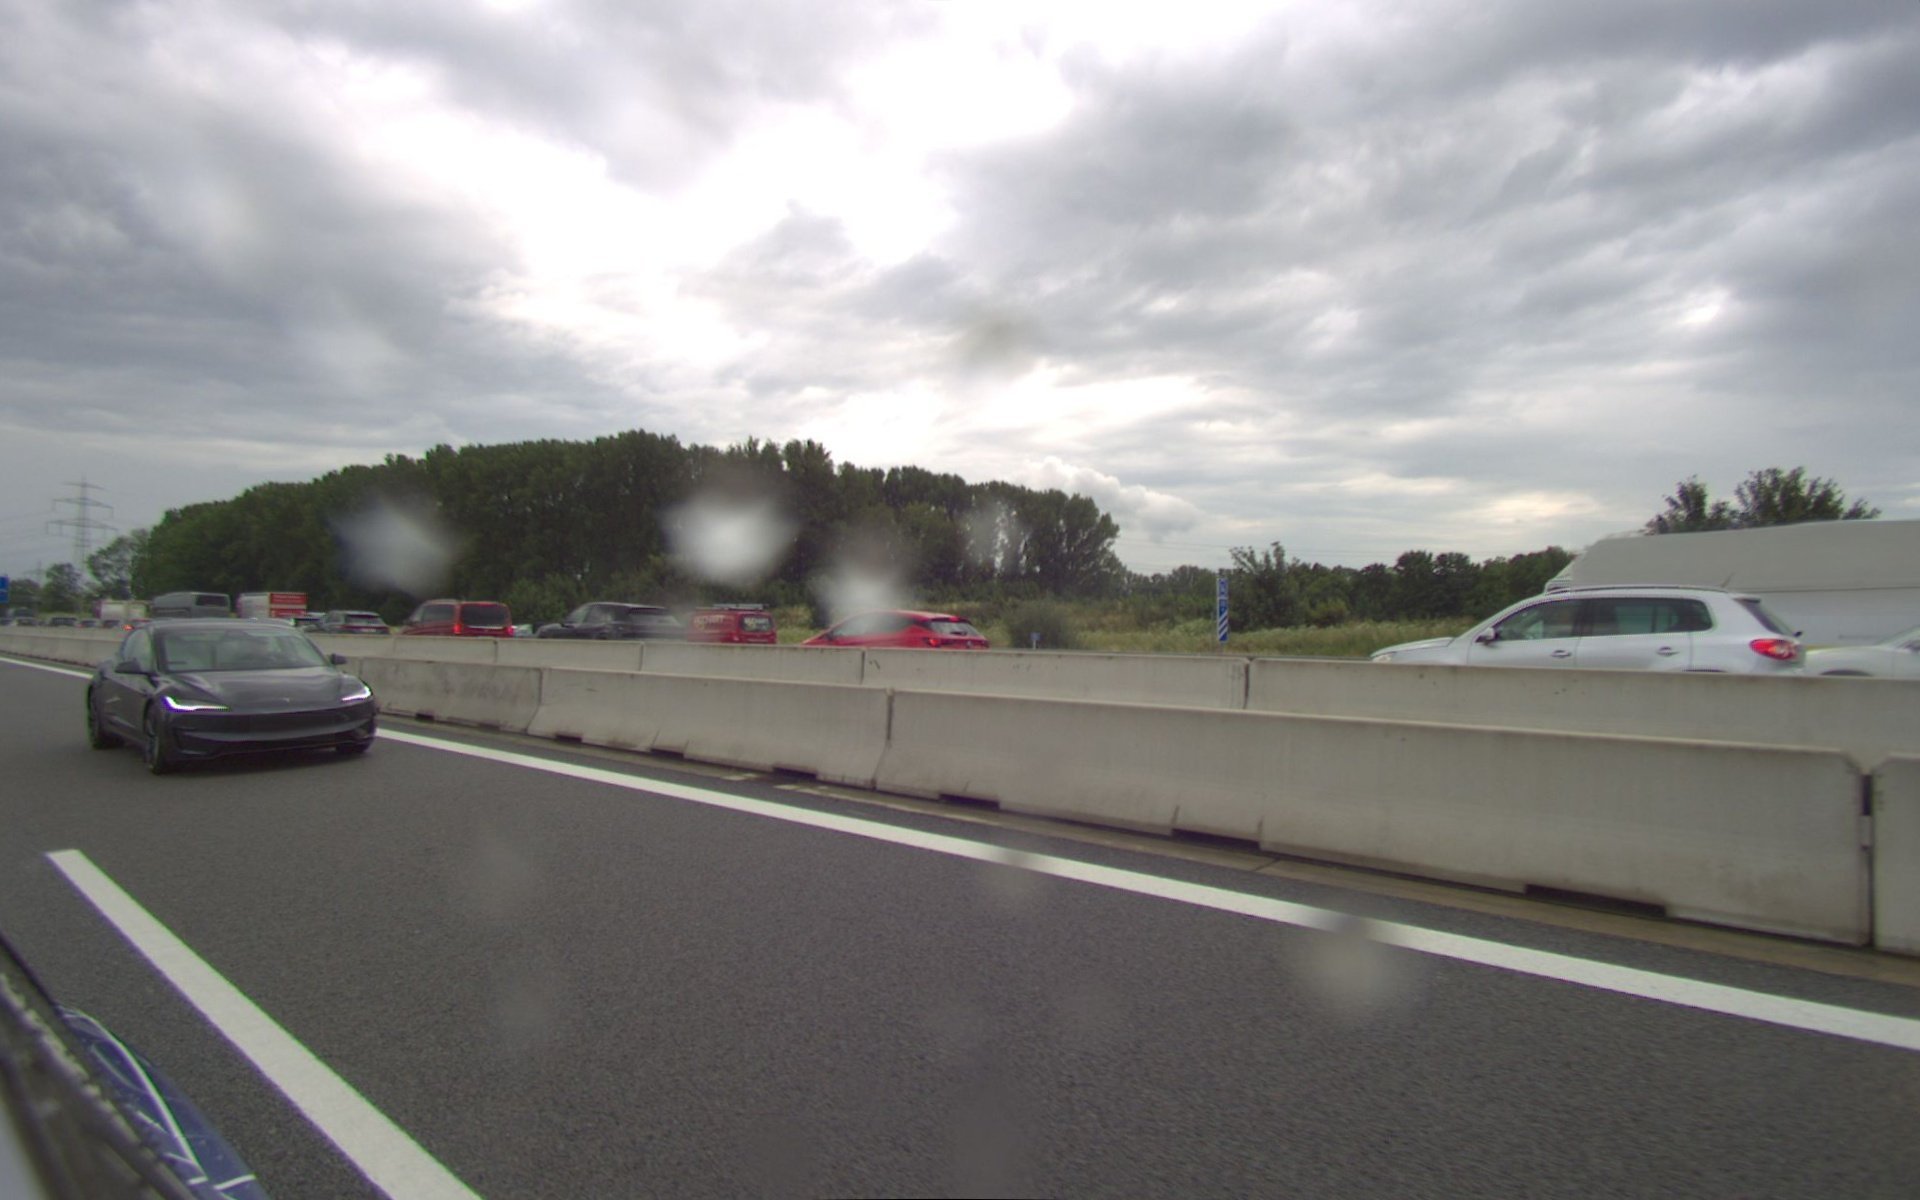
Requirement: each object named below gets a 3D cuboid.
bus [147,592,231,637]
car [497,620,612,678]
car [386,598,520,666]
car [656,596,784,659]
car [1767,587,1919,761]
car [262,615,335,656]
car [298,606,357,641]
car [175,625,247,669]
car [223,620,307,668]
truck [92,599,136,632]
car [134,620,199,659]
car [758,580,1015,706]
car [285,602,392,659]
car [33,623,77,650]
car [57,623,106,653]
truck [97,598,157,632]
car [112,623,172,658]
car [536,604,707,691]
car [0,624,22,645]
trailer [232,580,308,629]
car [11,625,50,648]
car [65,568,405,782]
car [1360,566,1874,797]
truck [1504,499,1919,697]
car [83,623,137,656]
[{"bbox_3d":[-63.007,1.224,82.506,13.990,3.411,2.659,-1,-1,41],"label":"bus"},{"bbox_3d":[-14.458,1.696,35.987,4.472,1.914,1.973,-1,-1,41],"label":"car"},{"bbox_3d":[-16.462,0.993,32.716,5.415,2.029,1.973,-1,-1,41],"label":"car"},{"bbox_3d":[-8.344,0.920,35.000,4.684,2.029,1.973,-1,-1,41],"label":"car"},{"bbox_3d":[12.587,0.844,11.850,4.811,2.029,1.973,-1,-1,41],"label":"car"},{"bbox_3d":[-34.953,1.833,53.441,4.969,2.029,1.973,-1,-1,41],"label":"car"},{"bbox_3d":[-38.559,1.413,61.655,3.998,2.029,1.973,-1,0,41],"label":"car"},{"bbox_3d":[-37.281,2.288,50.327,4.347,2.029,1.973,-1,-1,41],"label":"car"},{"bbox_3d":[-31.475,1.933,45.785,4.969,2.029,1.973,-1,-1,41],"label":"car"},{"bbox_3d":[-100.699,1.860,120.453,6.315,3.740,3.118,-1,-1,41],"label":"truck"},{"bbox_3d":[-44.013,2.157,56.089,4.694,2.029,1.973,-1,-1,41],"label":"car"},{"bbox_3d":[-1.451,0.734,18.604,4.684,2.029,1.973,-1,-1,41],"label":"car"},{"bbox_3d":[-23.948,1.155,38.905,5.415,2.029,1.973,-1,-1,41],"label":"car"},{"bbox_3d":[-70.489,2.836,78.800,4.694,1.982,1.973,-1,-1,41],"label":"car"},{"bbox_3d":[-61.915,2.635,71.277,4.694,1.982,1.973,-1,-1,41],"label":"car"},{"bbox_3d":[-95.903,1.771,116.340,13.290,3.774,3.116,-1,-1,41],"label":"truck"},{"bbox_3d":[-48.498,2.382,59.976,4.694,1.982,1.973,-1,-1,41],"label":"car"},{"bbox_3d":[-8.314,1.094,24.655,4.501,1.918,1.973,-1,-1,42],"label":"car"},{"bbox_3d":[-94.412,3.414,100.022,4.694,1.982,1.973,-1,-1,41],"label":"car"},{"bbox_3d":[-55.837,0.449,81.786,9.156,3.791,2.830,-1,-2,41],"label":"trailer"},{"bbox_3d":[-81.211,3.176,88.416,4.694,1.982,1.973,-1,-1,41],"label":"car"},{"bbox_3d":[-8.131,0.684,11.120,5.161,1.834,1.972,-1,-1,42],"label":"car"},{"bbox_3d":[6.995,0.753,11.116,4.423,2.029,1.973,-1,-1,41],"label":"car"},{"bbox_3d":[15.762,-0.004,19.160,9.197,3.315,2.879,-1,-1,41],"label":"truck"},{"bbox_3d":[-54.679,2.524,65.099,4.694,1.982,1.973,-1,-1,41],"label":"car"}]
